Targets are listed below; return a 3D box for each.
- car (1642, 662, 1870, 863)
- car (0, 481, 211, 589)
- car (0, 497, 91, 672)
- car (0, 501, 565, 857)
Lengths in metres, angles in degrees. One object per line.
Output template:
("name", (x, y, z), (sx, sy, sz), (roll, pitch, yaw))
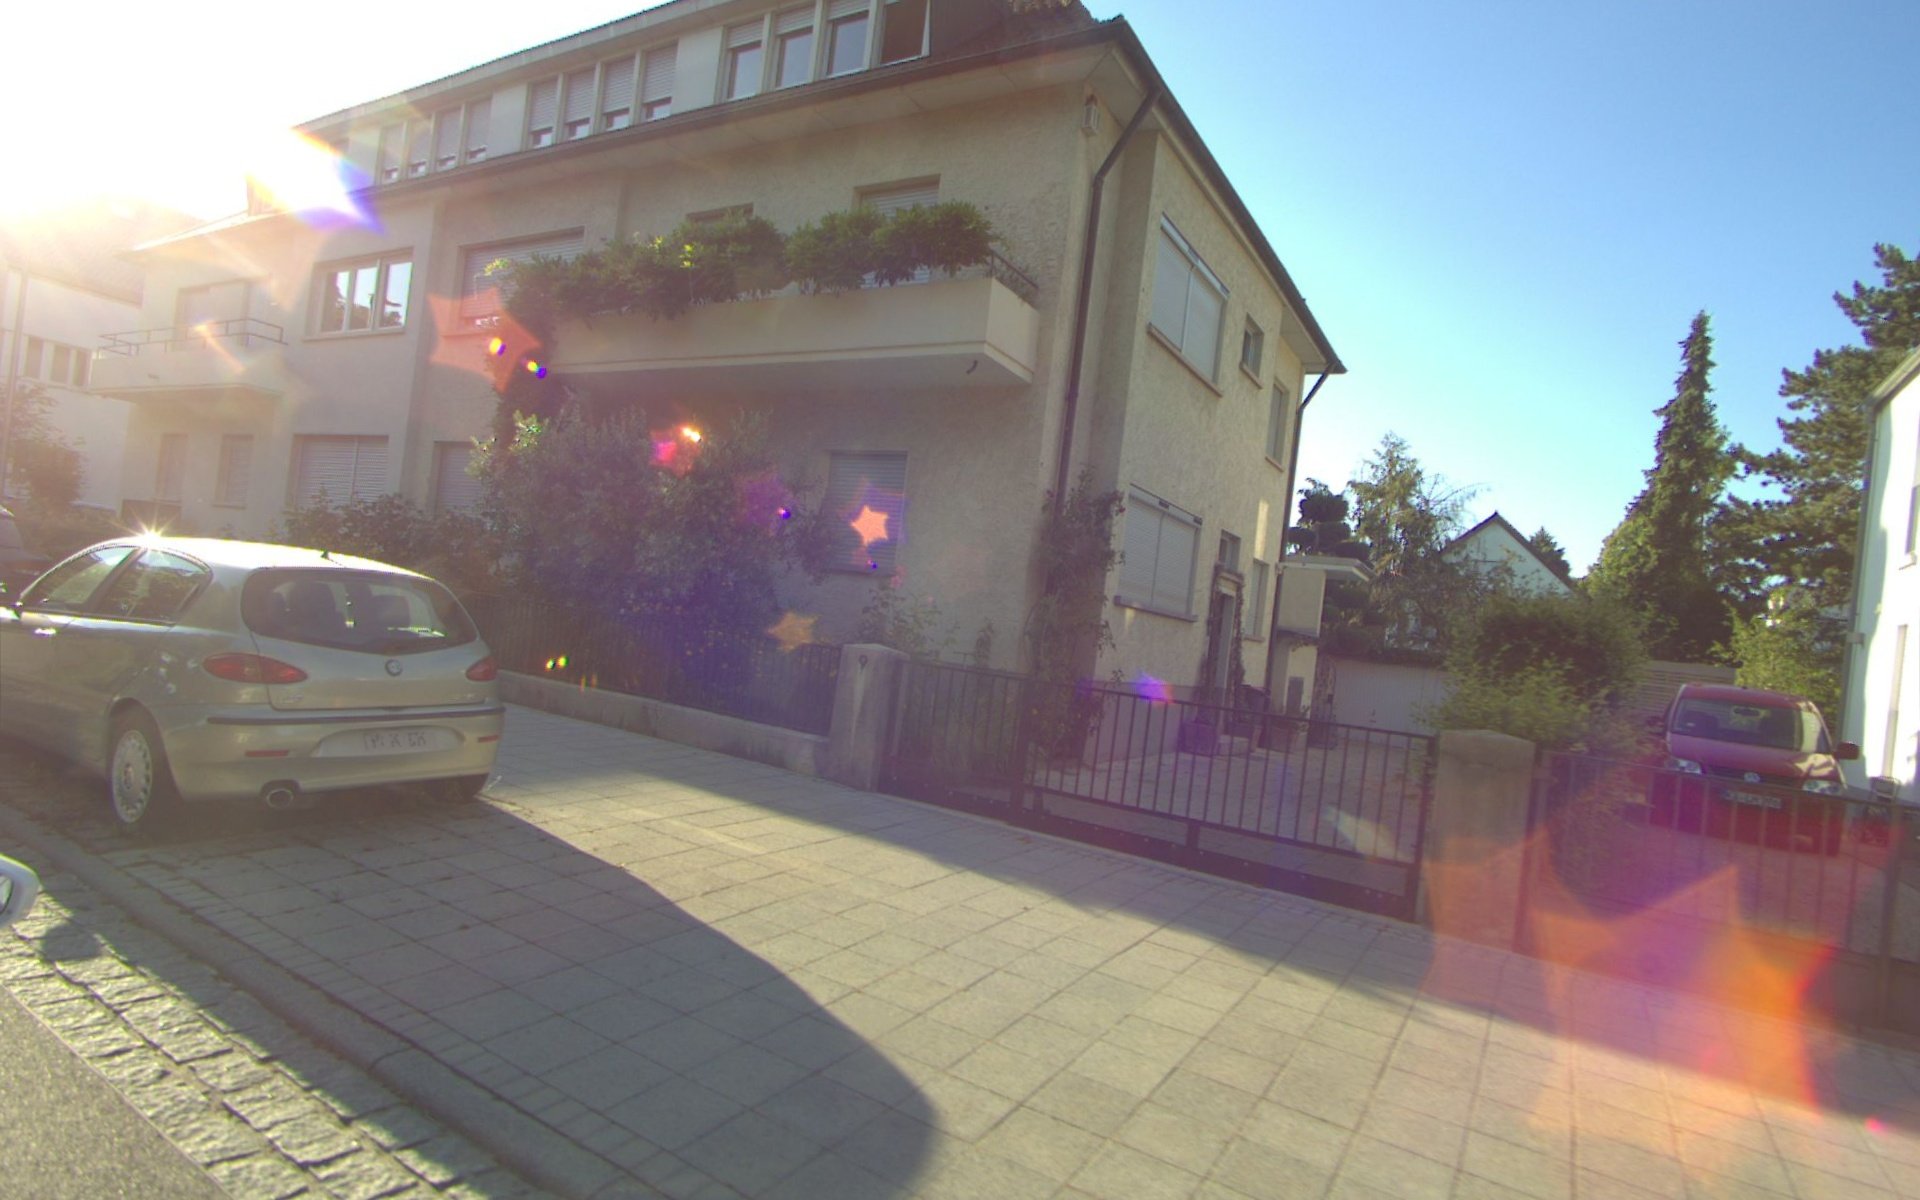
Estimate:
("car", (9.479, 1.894, 12.202), (1.754, 1.836, 3.844), (5, -3, 36))
("car", (-20.865, -1.532, 24.221), (1.783, 1.865, 3.997), (8, -2, 26))
("car", (-10.234, -0.336, 9.554), (4.124, 1.513, 1.795), (6, 1, 32))
("car", (-4.487, 0.255, 6.074), (4.011, 1.397, 1.795), (6, 1, 32))
